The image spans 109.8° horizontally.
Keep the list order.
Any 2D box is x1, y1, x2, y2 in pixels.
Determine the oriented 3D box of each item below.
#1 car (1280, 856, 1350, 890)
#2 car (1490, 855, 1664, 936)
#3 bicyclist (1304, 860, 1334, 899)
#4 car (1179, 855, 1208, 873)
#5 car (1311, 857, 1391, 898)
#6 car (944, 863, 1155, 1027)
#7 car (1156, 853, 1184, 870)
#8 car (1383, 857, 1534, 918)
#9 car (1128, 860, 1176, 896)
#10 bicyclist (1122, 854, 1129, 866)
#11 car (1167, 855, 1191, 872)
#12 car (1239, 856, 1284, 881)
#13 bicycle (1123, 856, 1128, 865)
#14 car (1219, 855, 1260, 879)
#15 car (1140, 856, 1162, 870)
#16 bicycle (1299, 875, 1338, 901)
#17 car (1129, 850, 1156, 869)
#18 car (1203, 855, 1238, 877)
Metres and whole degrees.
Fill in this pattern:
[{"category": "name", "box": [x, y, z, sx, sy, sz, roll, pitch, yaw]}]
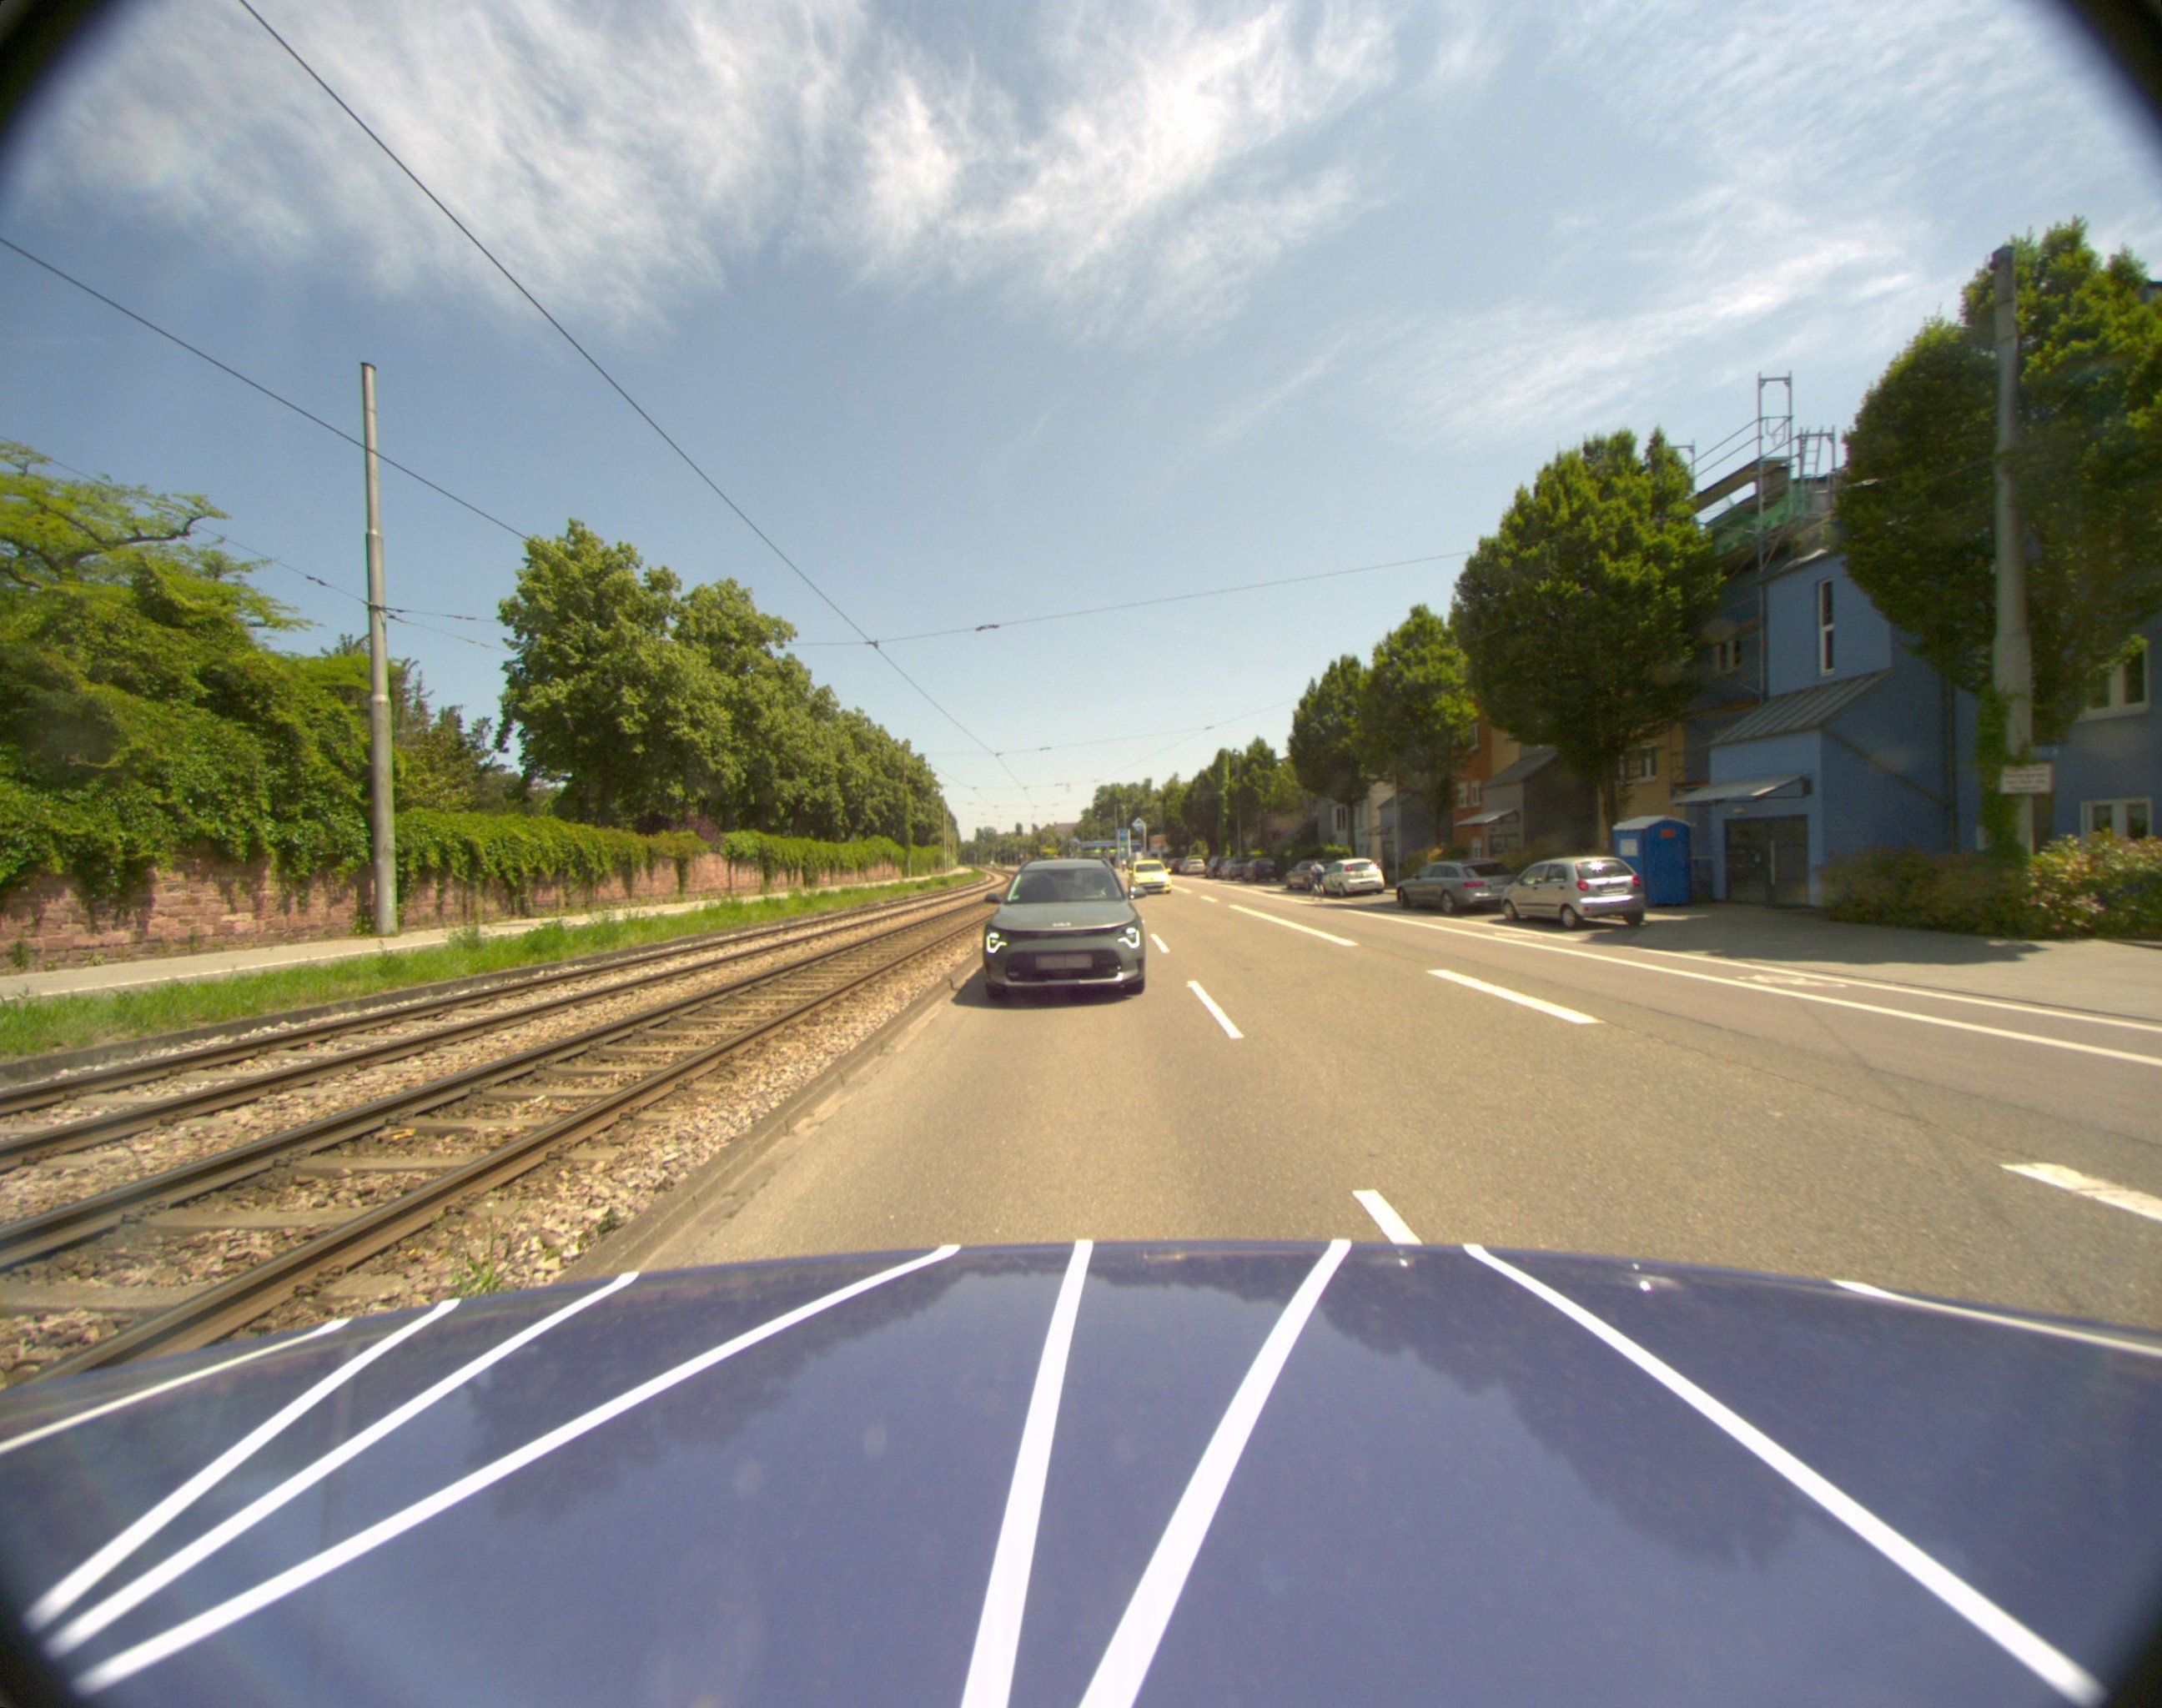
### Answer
[{"category": "car", "box": [11.525, 0.901, 37.791, 1.708, 1.421, 4.750, -6, 0, -3]}, {"category": "car", "box": [11.029, 0.848, 17.206, 1.597, 1.487, 3.448, -6, 0, 1]}, {"category": "bicyclist", "box": [9.086, 0.970, 29.028, 0.737, 1.422, 1.124, 2, 0, -2]}, {"category": "car", "box": [10.549, 0.912, 71.419, 1.845, 1.573, 4.496, -3, 0, -2]}, {"category": "car", "box": [11.412, 0.944, 32.475, 1.750, 1.434, 4.420, -6, 0, 0]}, {"category": "car", "box": [-0.210, 0.953, 9.724, 2.062, 1.533, 4.001, -4, 0, 3]}, {"category": "car", "box": [9.633, 0.812, 82.522, 1.999, 1.783, 4.556, -2, 0, -5]}, {"category": "car", "box": [10.976, 0.926, 22.614, 1.791, 1.441, 5.133, -5, -1, 0]}, {"category": "car", "box": [3.060, 1.005, 33.354, 1.695, 1.403, 3.515, -3, 0, 0]}, {"category": "bicyclist", "box": [5.590, 0.698, 95.516, 0.737, 1.496, 0.737, 0, 1, 1]}, {"category": "car", "box": [9.953, 0.965, 77.313, 1.604, 1.584, 3.680, -3, 0, -6]}, {"category": "car", "box": [11.573, 0.887, 48.985, 1.754, 1.424, 4.257, -4, 0, 0]}, {"category": "bicycle", "box": [5.577, 0.844, 95.466, 0.641, 1.089, 1.639, 1, 1, 1]}, {"category": "car", "box": [11.254, 0.910, 54.275, 1.830, 1.487, 4.757, -3, 0, -1]}, {"category": "car", "box": [8.441, 1.096, 91.550, 1.870, 1.528, 4.142, -3, 0, -4]}, {"category": "bicycle", "box": [9.061, 1.284, 29.062, 0.703, 0.945, 2.243, 1, -1, -2]}, {"category": "car", "box": [7.811, 0.726, 97.460, 2.285, 2.294, 5.226, -3, 0, -8]}, {"category": "car", "box": [11.006, 0.901, 60.096, 1.772, 1.579, 4.147, -3, 0, -3]}]
